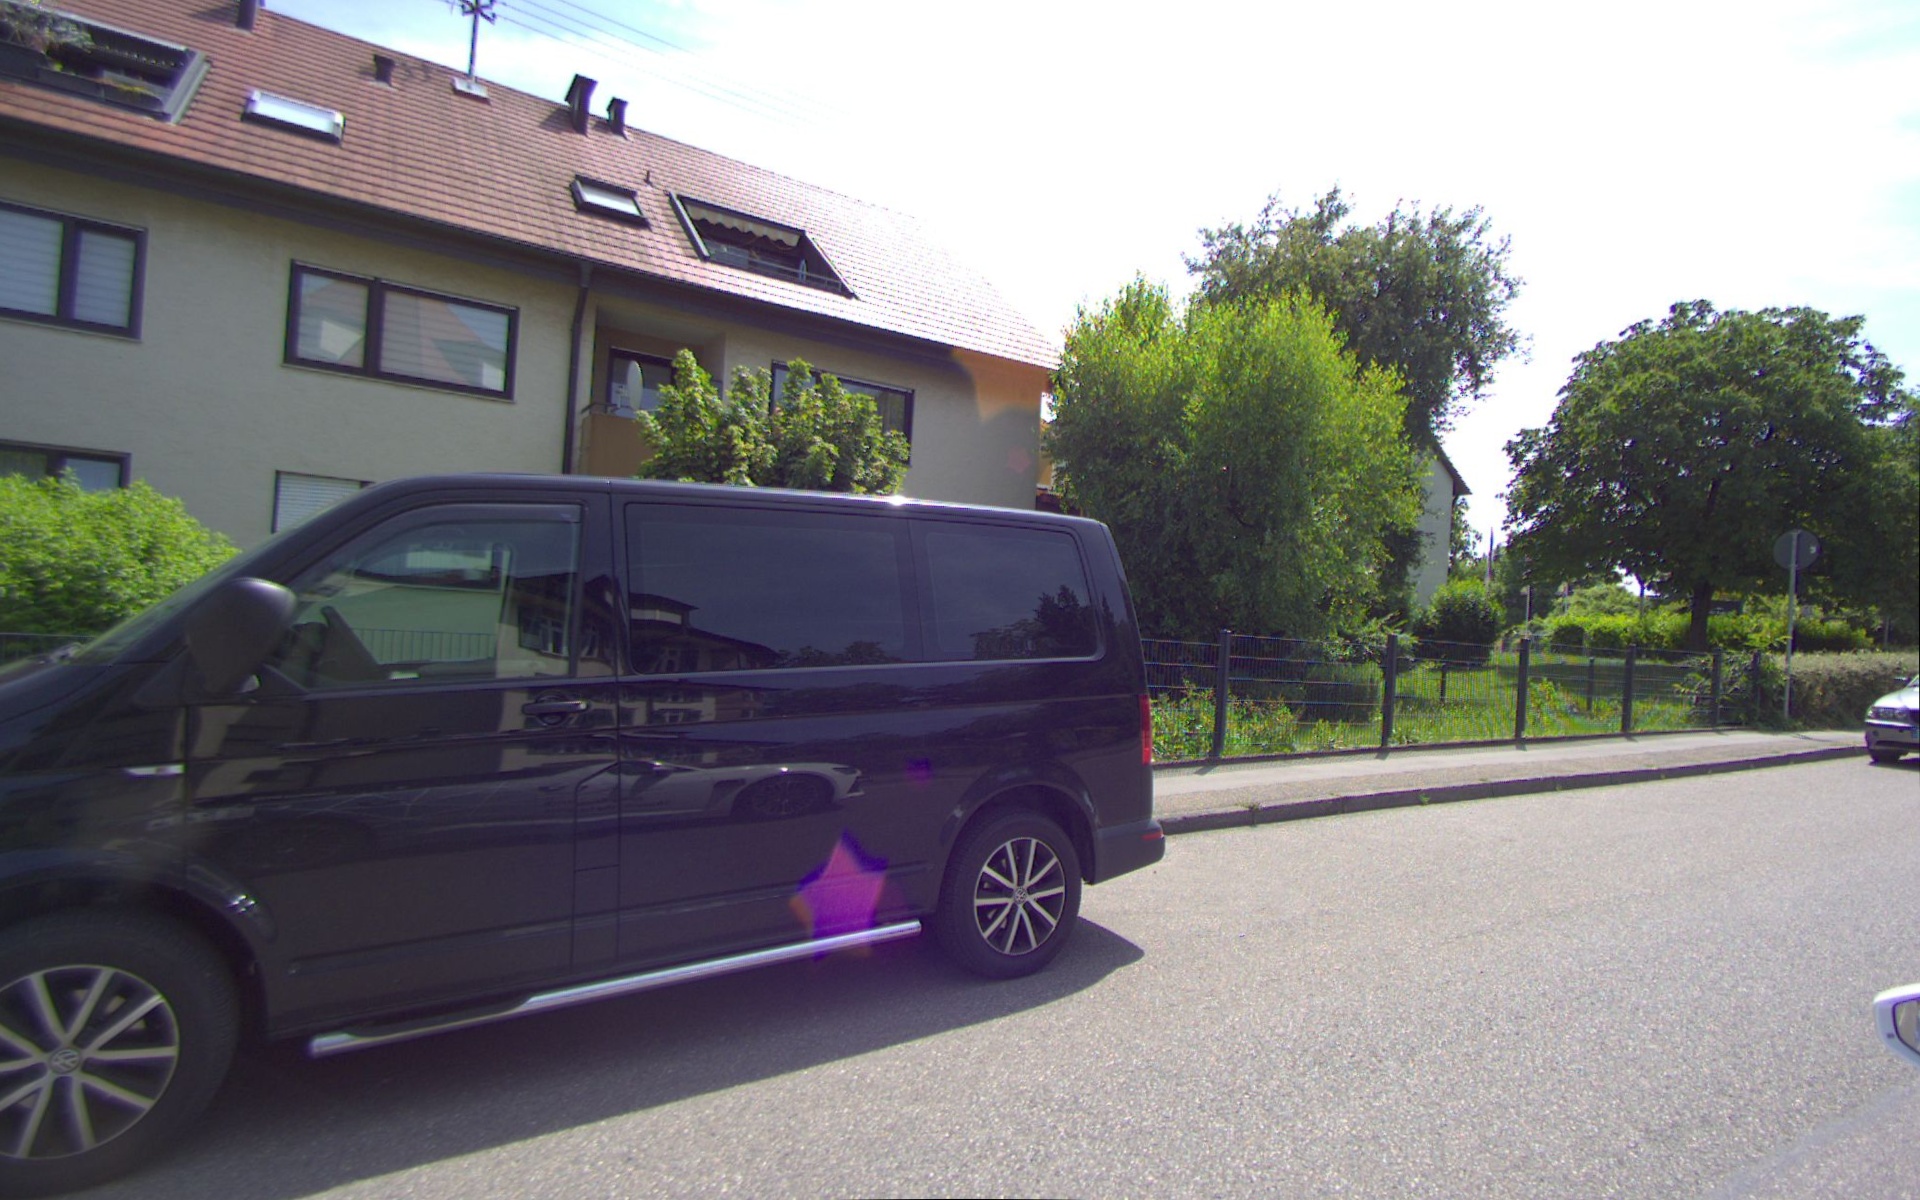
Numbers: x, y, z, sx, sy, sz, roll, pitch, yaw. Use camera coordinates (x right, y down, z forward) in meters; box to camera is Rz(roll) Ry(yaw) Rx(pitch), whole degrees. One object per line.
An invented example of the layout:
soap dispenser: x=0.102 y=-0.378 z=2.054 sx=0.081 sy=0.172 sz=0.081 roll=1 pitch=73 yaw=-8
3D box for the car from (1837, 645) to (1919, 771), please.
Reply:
car: x=12.936 y=1.327 z=12.481 sx=4.357 sy=1.413 sz=1.772 roll=2 pitch=-2 yaw=-30

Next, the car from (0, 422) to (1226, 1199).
car: x=-1.287 y=0.602 z=4.150 sx=4.817 sy=1.945 sz=1.886 roll=1 pitch=-2 yaw=-32
